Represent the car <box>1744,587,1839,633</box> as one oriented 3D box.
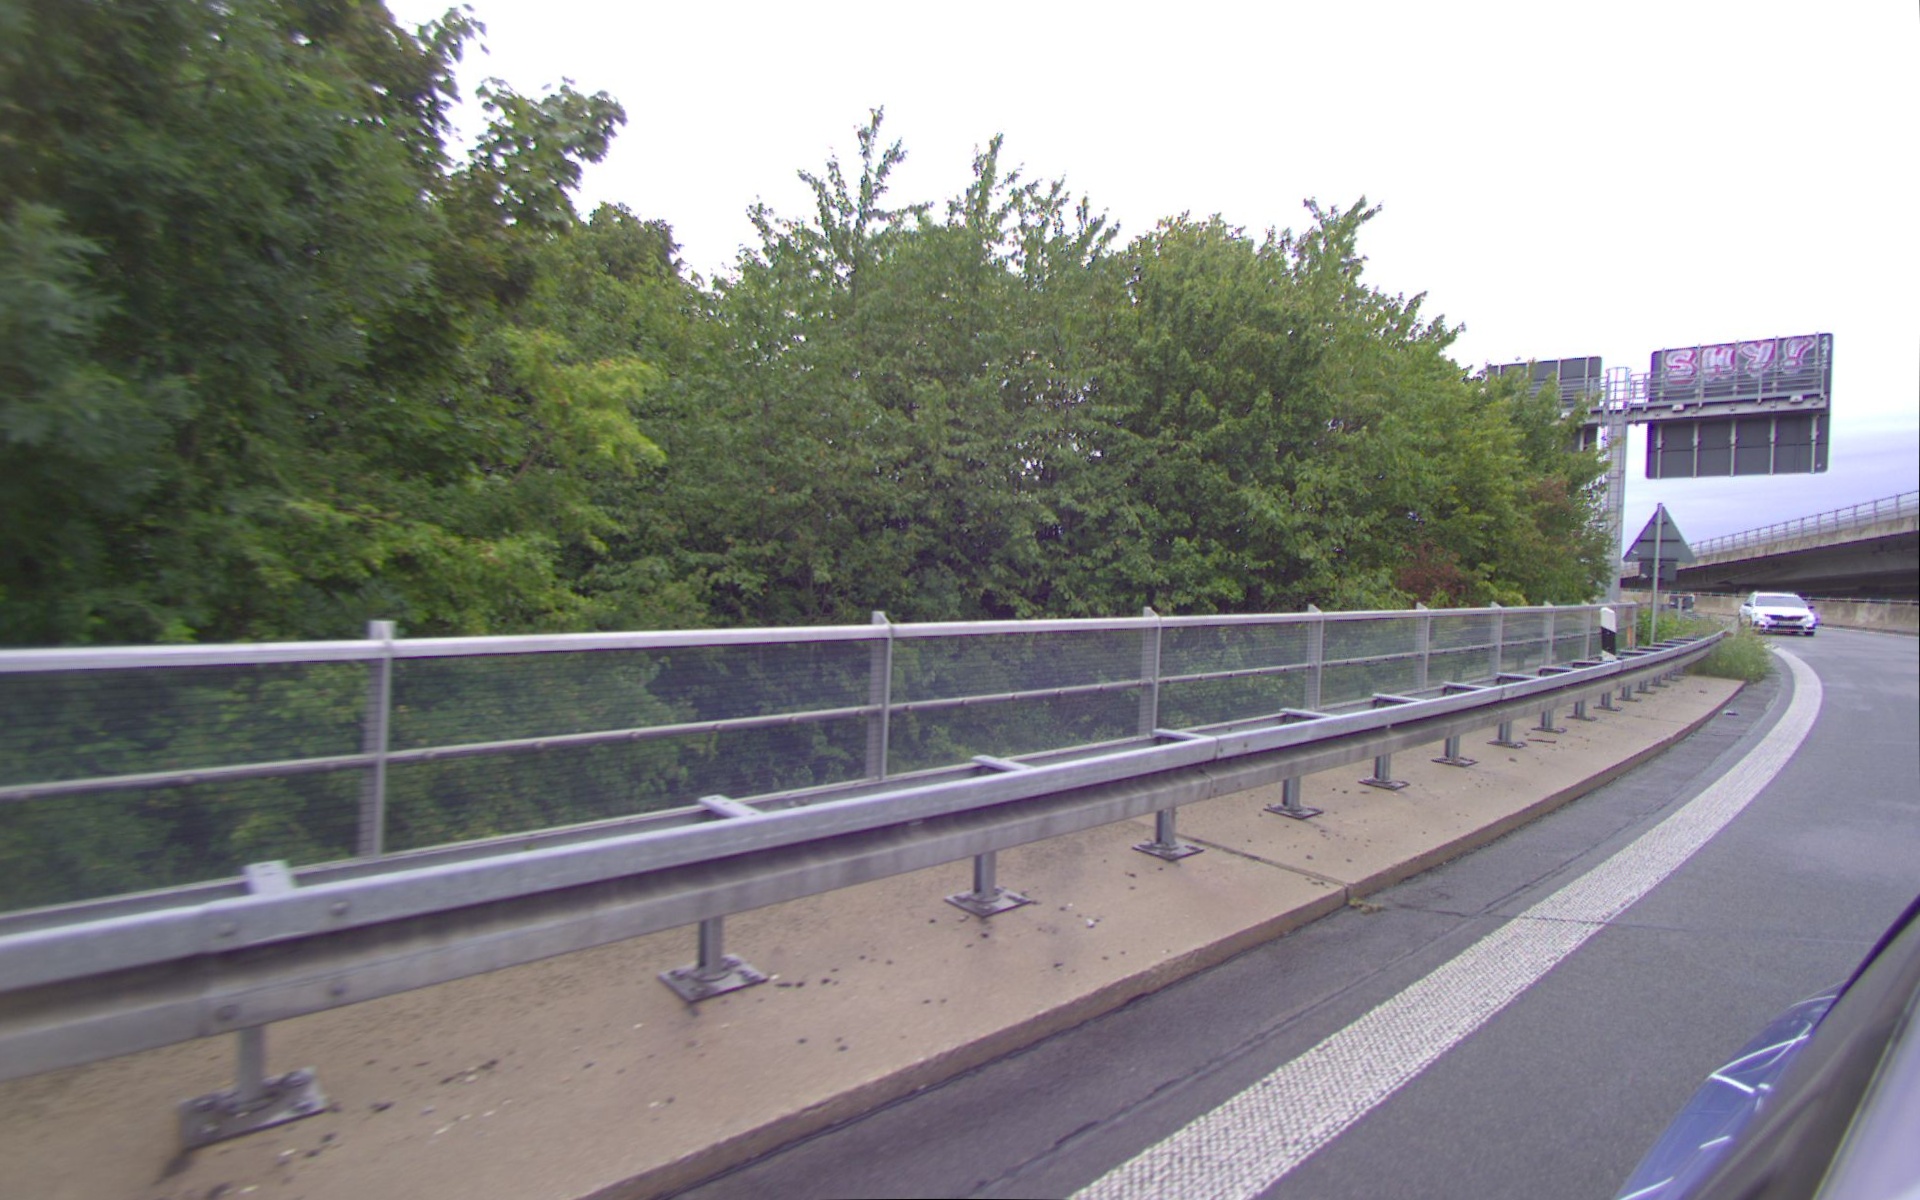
[{"bbox_3d":[29.423,0.323,35.935,1.901,1.466,4.506,1,1,31],"label":"car"}]
